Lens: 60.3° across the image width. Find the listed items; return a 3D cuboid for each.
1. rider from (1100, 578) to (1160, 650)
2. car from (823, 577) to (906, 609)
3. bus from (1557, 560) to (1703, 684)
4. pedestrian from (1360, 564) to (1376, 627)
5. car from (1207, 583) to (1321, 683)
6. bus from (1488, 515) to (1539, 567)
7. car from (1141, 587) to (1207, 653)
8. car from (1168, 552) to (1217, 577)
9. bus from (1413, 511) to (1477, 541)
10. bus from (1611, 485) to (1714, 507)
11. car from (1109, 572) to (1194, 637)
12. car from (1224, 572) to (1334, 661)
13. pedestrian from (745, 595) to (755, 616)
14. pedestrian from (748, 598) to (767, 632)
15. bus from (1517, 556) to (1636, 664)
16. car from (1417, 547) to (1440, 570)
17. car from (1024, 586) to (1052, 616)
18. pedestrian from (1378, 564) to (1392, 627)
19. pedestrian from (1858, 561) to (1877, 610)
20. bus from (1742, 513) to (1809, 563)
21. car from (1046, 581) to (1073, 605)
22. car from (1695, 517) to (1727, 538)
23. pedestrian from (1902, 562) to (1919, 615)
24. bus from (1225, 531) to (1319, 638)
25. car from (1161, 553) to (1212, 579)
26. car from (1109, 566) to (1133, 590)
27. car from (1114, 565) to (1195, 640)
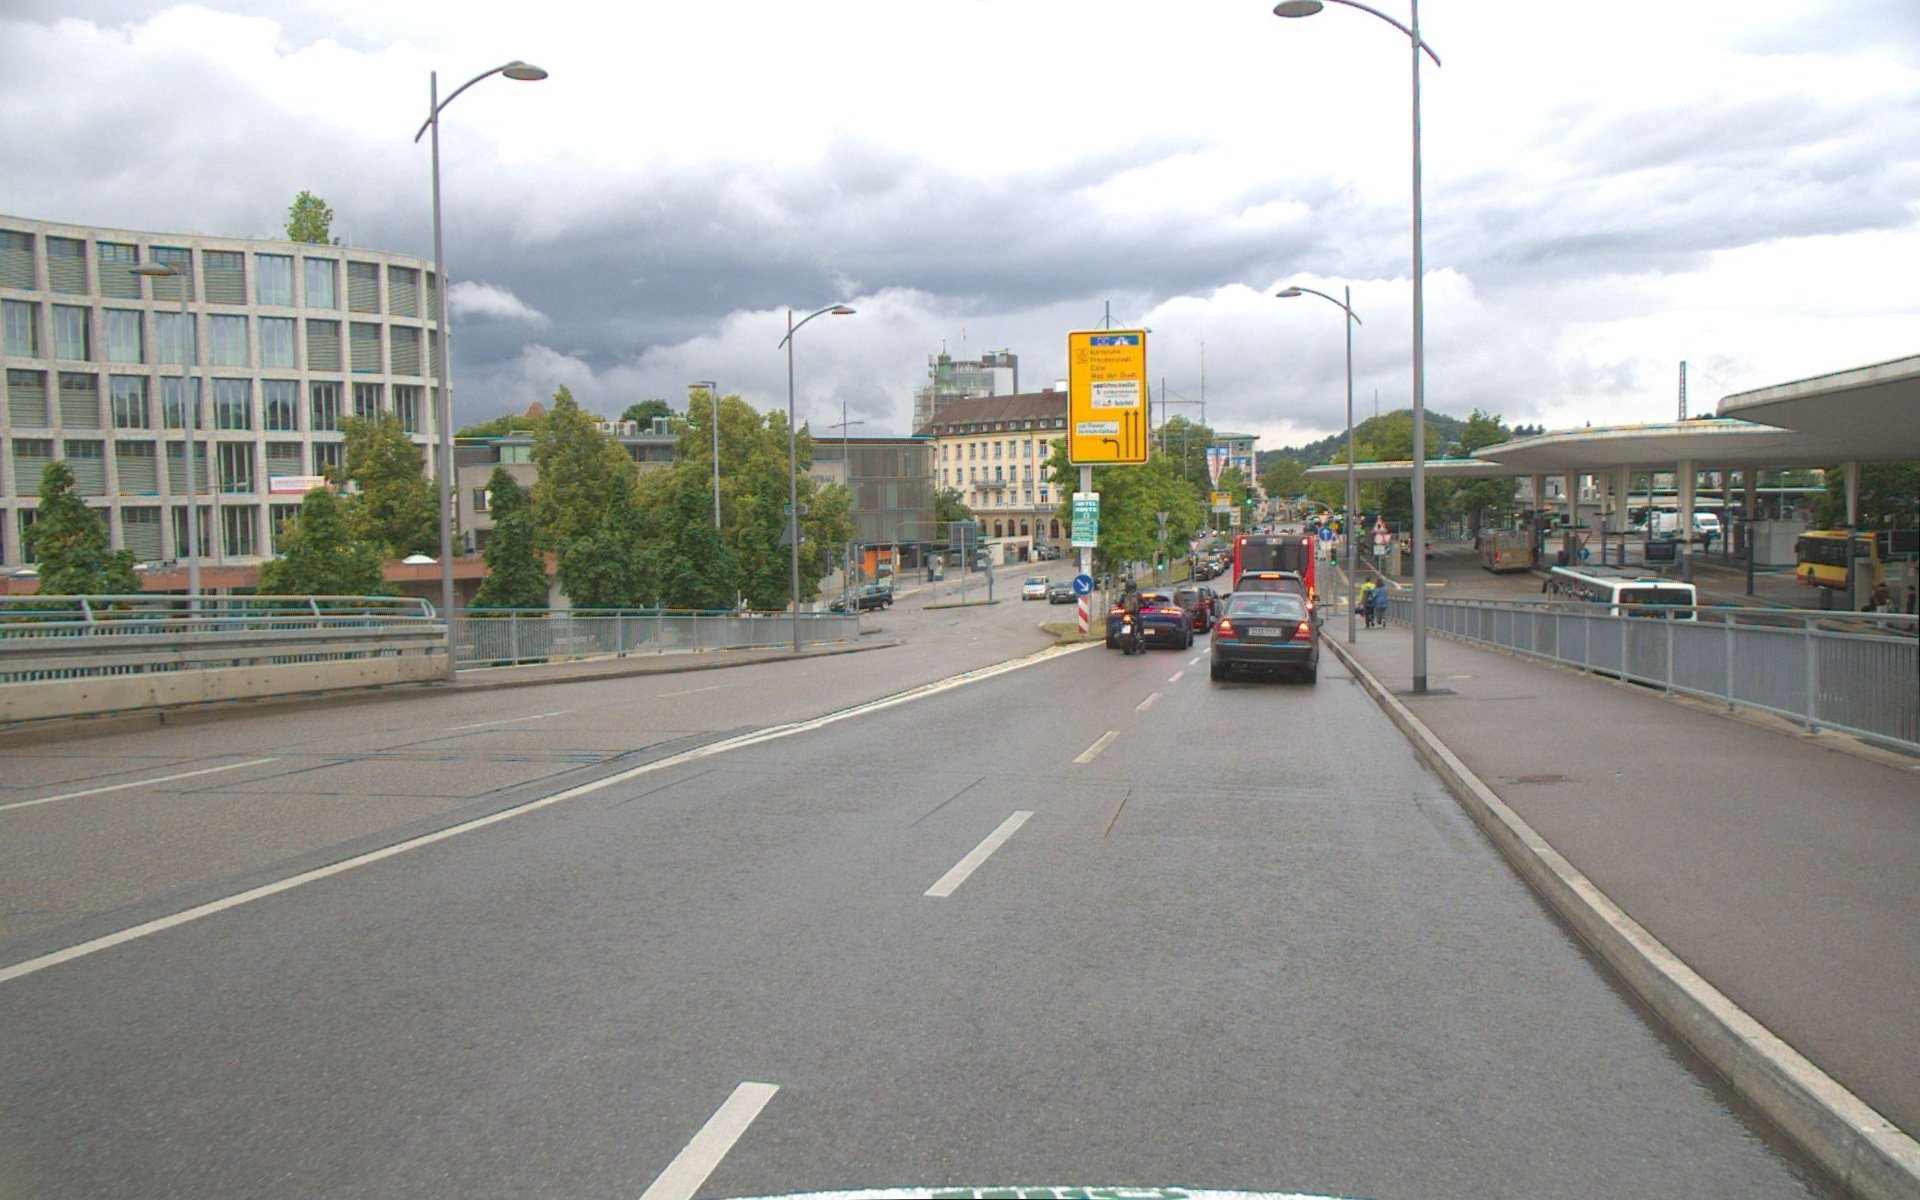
[{"bbox_3d":[3.739,0.291,36.145,0.862,1.497,2.197,2,1,17],"label":"rider"},{"bbox_3d":[-6.639,-0.538,115.480,5.562,2.048,1.976,-2,2,-34],"label":"car"},{"bbox_3d":[21.427,0.565,53.317,2.590,3.291,7.081,1,5,8],"label":"bus"},{"bbox_3d":[13.429,-0.139,54.480,0.479,2.049,0.470,-1,-2,13],"label":"pedestrian"},{"bbox_3d":[5.026,0.479,27.007,1.669,1.444,3.729,2,1,12],"label":"car"},{"bbox_3d":[41.582,-4.361,124.514,3.111,3.663,10.517,0,1,16],"label":"bus"},{"bbox_3d":[7.199,0.632,55.281,1.951,2.041,4.004,1,1,10],"label":"car"},{"bbox_3d":[19.939,-3.081,141.975,3.902,2.048,2.002,-1,1,16],"label":"car"},{"bbox_3d":[59.009,-9.023,201.434,7.044,3.455,3.085,-1,2,8],"label":"bus"},{"bbox_3d":[74.982,-11.144,176.627,9.951,2.048,2.172,-1,1,8],"label":"bus"},{"bbox_3d":[4.716,0.073,40.401,1.722,1.461,4.004,1,1,11],"label":"car"},{"bbox_3d":[6.775,0.287,34.813,1.788,1.716,4.002,1,1,18],"label":"car"},{"bbox_3d":[-9.120,0.253,71.822,0.294,0.889,0.299,-1,2,14],"label":"pedestrian"},{"bbox_3d":[-8.778,0.664,71.722,0.634,1.433,0.531,-1,2,14],"label":"pedestrian"},{"bbox_3d":[22.390,0.264,60.385,2.589,3.291,7.081,-1,4,8],"label":"bus"},{"bbox_3d":[42.646,-3.774,150.579,1.951,2.048,4.003,-1,1,17],"label":"car"},{"bbox_3d":[5.692,0.062,120.242,1.952,2.049,4.002,-1,0,4],"label":"car"},{"bbox_3d":[13.966,-0.139,54.380,0.415,2.049,0.484,-1,-2,13],"label":"pedestrian"},{"bbox_3d":[38.095,-0.599,69.466,0.532,2.049,0.580,-1,1,12],"label":"pedestrian"},{"bbox_3d":[56.116,-4.305,113.934,2.544,3.265,7.001,-1,2,13],"label":"bus"},{"bbox_3d":[6.733,-0.454,111.886,1.794,1.553,4.597,-1,0,4],"label":"car"},{"bbox_3d":[74.437,-7.172,163.962,1.951,2.048,4.005,-1,2,11],"label":"car"},{"bbox_3d":[37.025,-0.436,64.285,0.471,2.049,0.563,-1,1,5],"label":"pedestrian"},{"bbox_3d":[10.532,-0.557,55.793,2.767,3.245,10.318,1,1,11],"label":"bus"},{"bbox_3d":[18.620,-2.813,135.868,3.902,2.048,2.002,-1,1,16],"label":"car"},{"bbox_3d":[14.051,-1.894,144.456,1.951,2.049,4.204,-1,0,4],"label":"car"},{"bbox_3d":[5.663,0.034,47.863,1.951,2.041,4.004,1,1,12],"label":"car"}]
